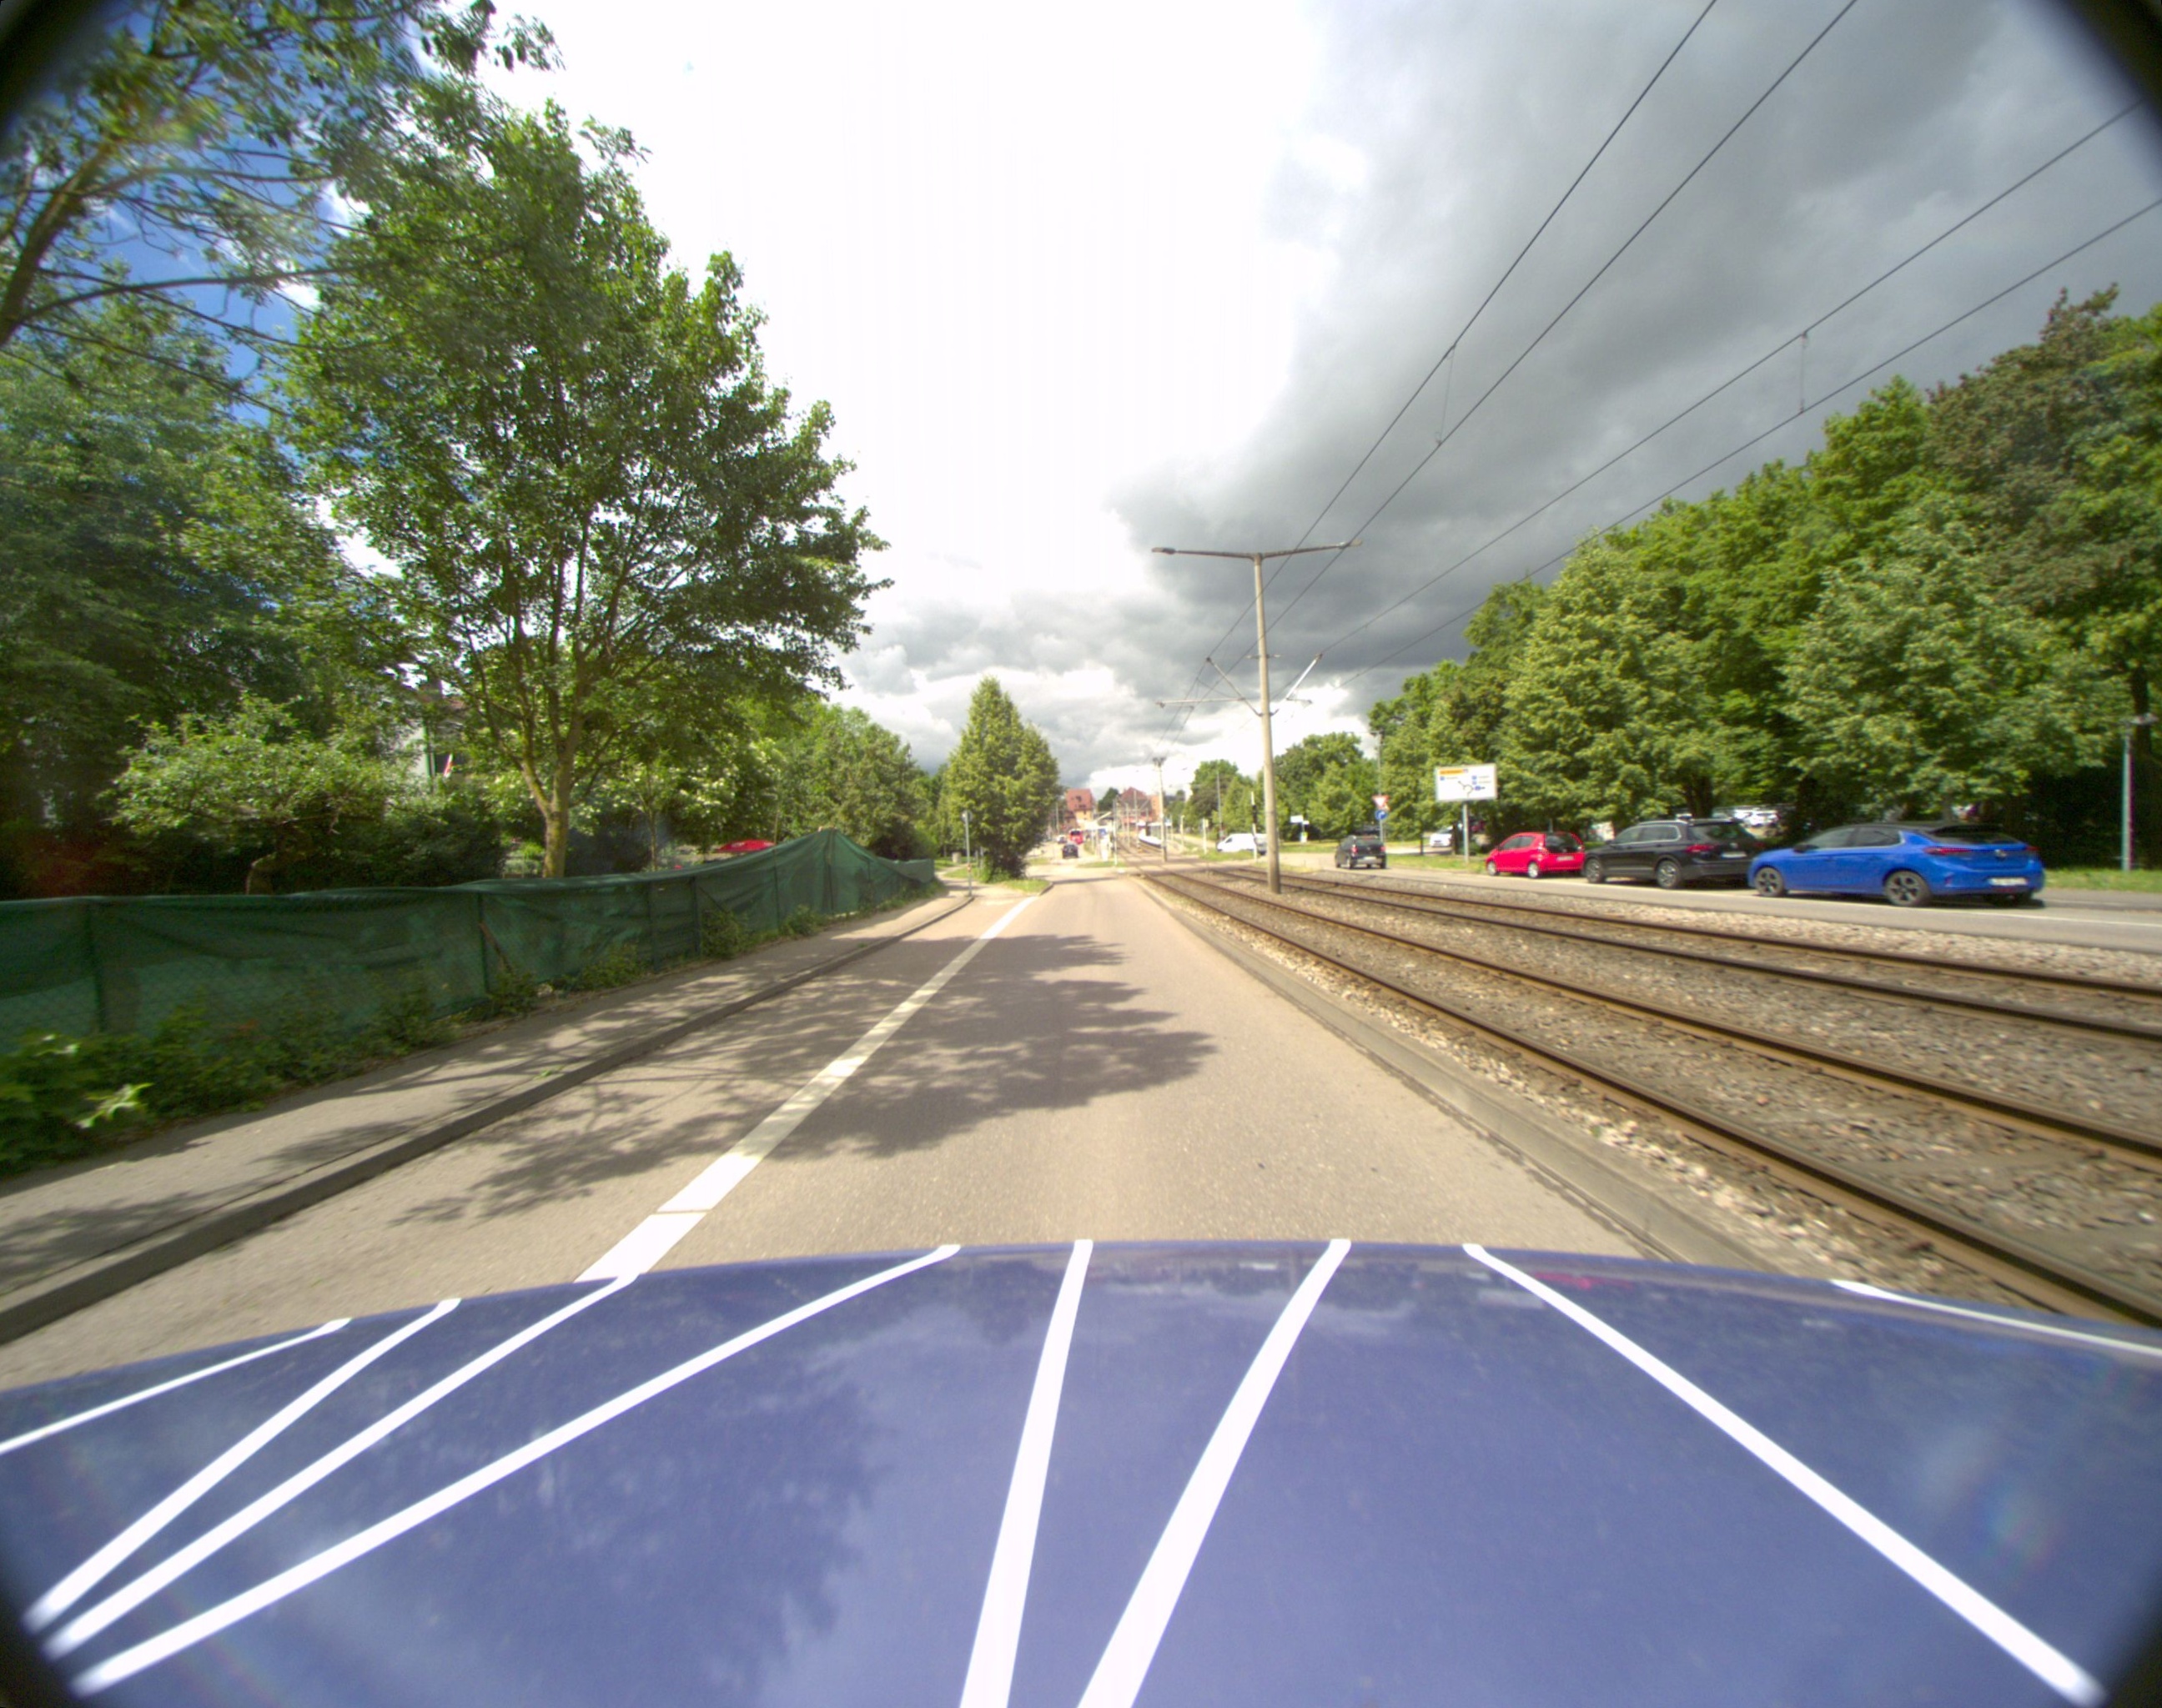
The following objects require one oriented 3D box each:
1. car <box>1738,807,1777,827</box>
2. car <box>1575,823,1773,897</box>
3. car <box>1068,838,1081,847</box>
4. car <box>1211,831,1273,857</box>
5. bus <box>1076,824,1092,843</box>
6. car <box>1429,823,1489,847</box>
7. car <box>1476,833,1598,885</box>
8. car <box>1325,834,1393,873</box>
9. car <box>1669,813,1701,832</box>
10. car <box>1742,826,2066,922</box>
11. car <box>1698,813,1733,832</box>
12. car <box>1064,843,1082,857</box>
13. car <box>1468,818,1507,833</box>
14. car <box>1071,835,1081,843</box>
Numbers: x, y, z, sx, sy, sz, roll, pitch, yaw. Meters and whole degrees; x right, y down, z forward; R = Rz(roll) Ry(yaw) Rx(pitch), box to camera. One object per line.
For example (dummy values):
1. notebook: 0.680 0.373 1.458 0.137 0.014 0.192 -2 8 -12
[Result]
1. car: 57.193 -3.165 64.299 1.754 1.412 4.006 -3 2 32
2. car: 14.490 0.121 18.923 1.584 1.596 4.375 -2 0 2
3. car: -1.074 -1.996 128.978 1.939 1.374 4.660 -4 2 3
4. car: 13.961 -0.866 66.053 1.884 2.007 5.221 -6 3 -36
5. bus: 0.638 -4.555 168.132 2.923 3.864 10.378 -3 1 2
6. car: 33.205 -1.682 66.813 4.347 1.680 1.742 -4 2 2
7. car: 14.718 0.104 24.753 1.617 1.443 3.660 -5 2 -2
8. car: 12.763 -0.058 35.112 1.617 1.565 3.999 -4 2 1
9. car: 52.901 -2.752 66.608 1.754 1.412 4.006 -3 2 32
10. car: 14.356 0.287 13.654 1.617 1.452 4.008 -1 1 3
11. car: 54.660 -2.737 65.501 1.754 1.412 4.006 -3 2 32
12. car: -0.955 -0.478 88.976 1.858 1.576 4.323 -2 1 -2
13. car: 47.303 -3.346 88.462 3.615 1.581 1.629 -2 2 4
14. car: -0.960 -3.050 153.497 1.738 1.501 3.514 -4 2 2
